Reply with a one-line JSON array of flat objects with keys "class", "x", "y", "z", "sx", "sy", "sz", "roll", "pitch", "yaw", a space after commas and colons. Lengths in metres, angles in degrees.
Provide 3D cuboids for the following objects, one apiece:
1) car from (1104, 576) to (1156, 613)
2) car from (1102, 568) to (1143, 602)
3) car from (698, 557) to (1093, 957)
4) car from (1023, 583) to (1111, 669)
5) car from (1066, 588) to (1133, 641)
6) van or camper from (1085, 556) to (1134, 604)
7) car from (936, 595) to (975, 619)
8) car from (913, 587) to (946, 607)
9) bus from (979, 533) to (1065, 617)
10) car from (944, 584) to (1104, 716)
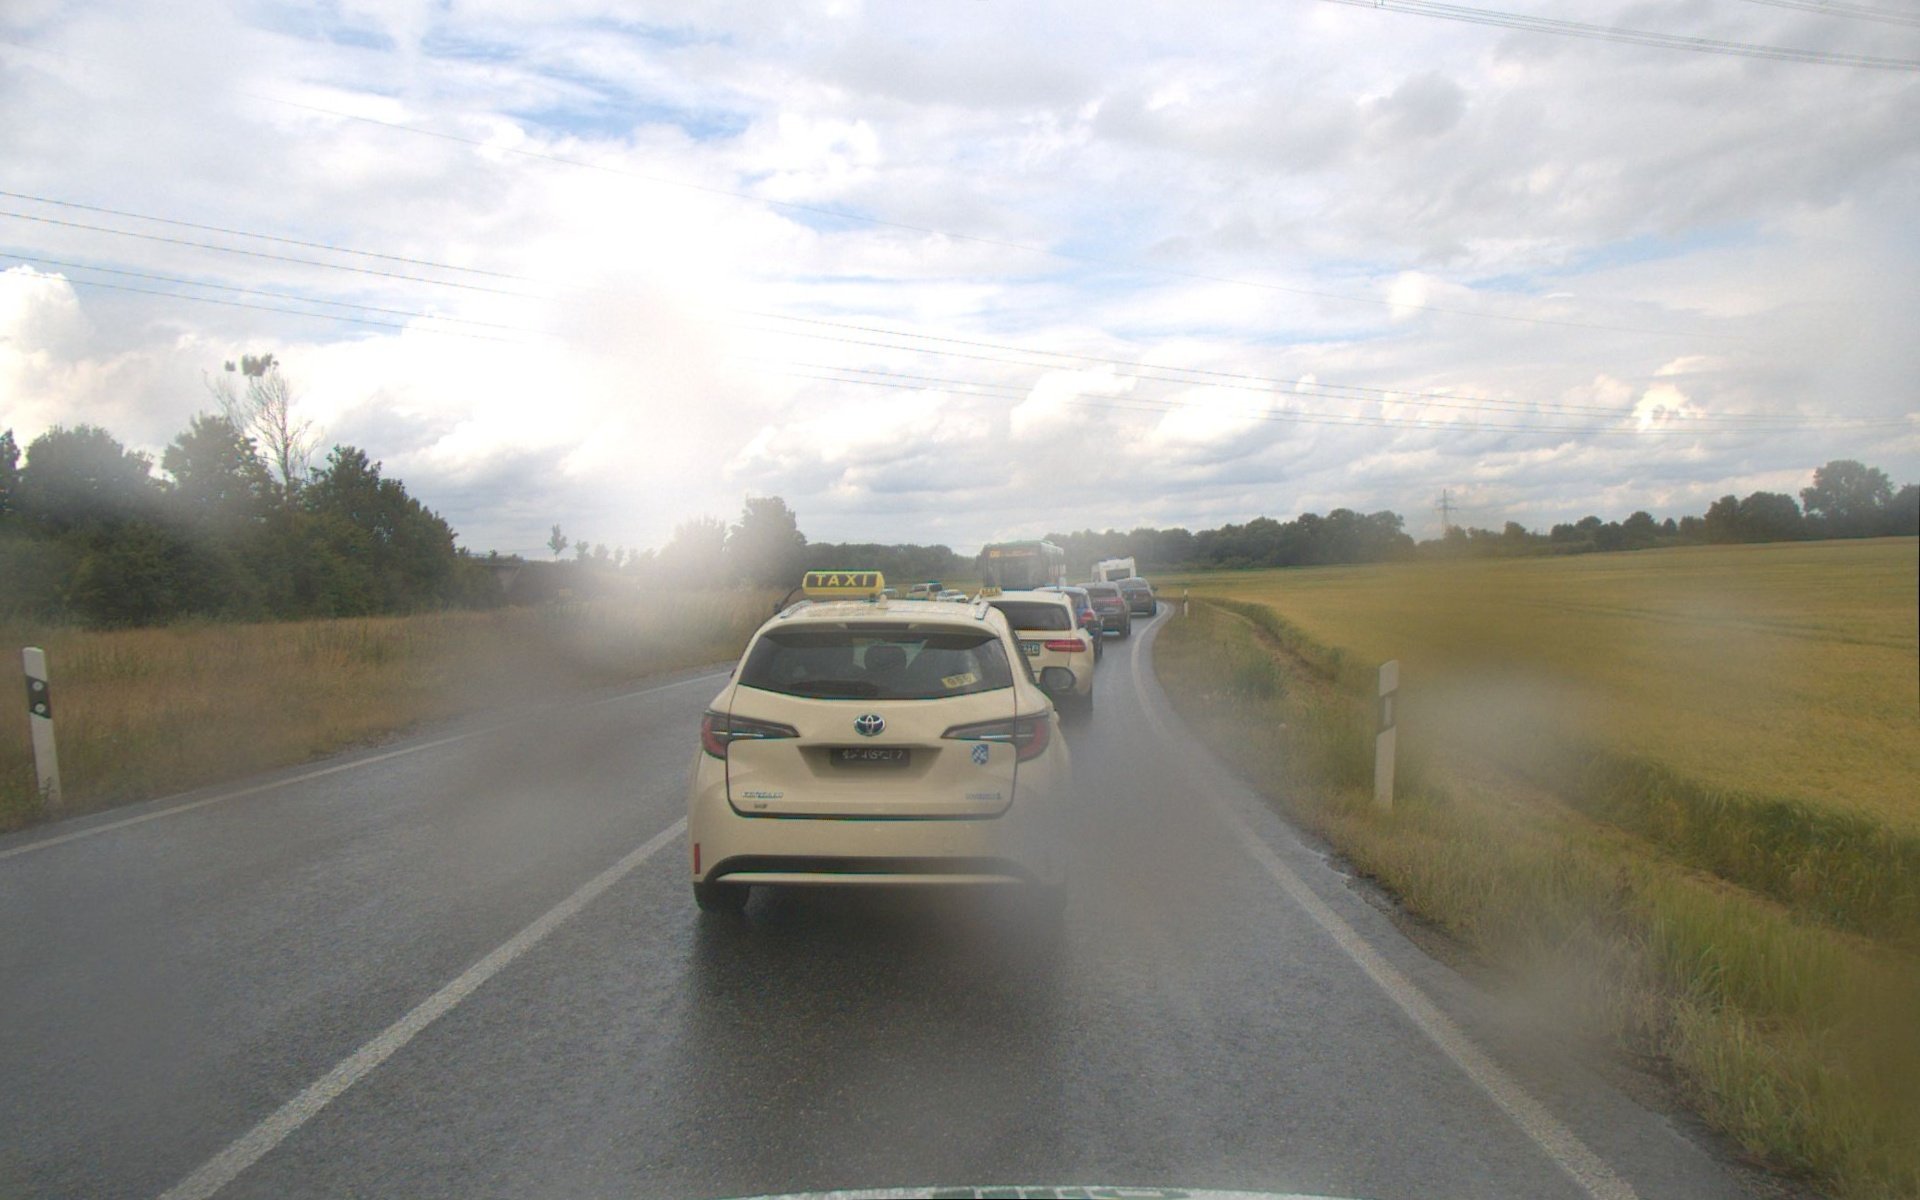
[{"class": "car", "x": 6.922, "y": -0.194, "z": 67.065, "sx": 1.918, "sy": 1.438, "sz": 4.395, "roll": 0, "pitch": -1, "yaw": 8}, {"class": "car", "x": 8.936, "y": -0.807, "z": 91.296, "sx": 1.919, "sy": 1.759, "sz": 3.738, "roll": 1, "pitch": -1, "yaw": 1}, {"class": "car", "x": -0.192, "y": 0.651, "z": 8.527, "sx": 1.579, "sy": 1.589, "sz": 3.739, "roll": 0, "pitch": -1, "yaw": 2}, {"class": "car", "x": 2.287, "y": 0.530, "z": 34.720, "sx": 1.578, "sy": 1.688, "sz": 3.741, "roll": 0, "pitch": -1, "yaw": 8}, {"class": "car", "x": 3.947, "y": 0.413, "z": 46.372, "sx": 1.578, "sy": 1.438, "sz": 3.741, "roll": 0, "pitch": -1, "yaw": 9}, {"class": "van or camper", "x": 9.542, "y": -1.283, "z": 106.262, "sx": 2.485, "sy": 2.946, "sz": 6.742, "roll": 0, "pitch": 0, "yaw": 0}, {"class": "car", "x": -0.421, "y": 0.599, "z": 141.229, "sx": 1.965, "sy": 2.049, "sz": 4.352, "roll": 1, "pitch": -1, "yaw": -20}, {"class": "car", "x": -2.885, "y": -0.284, "z": 157.110, "sx": 1.855, "sy": 1.804, "sz": 4.135, "roll": 1, "pitch": -1, "yaw": -20}, {"class": "bus", "x": 2.859, "y": -1.043, "z": 72.203, "sx": 2.699, "sy": 3.355, "sz": 12.512, "roll": 0, "pitch": 0, "yaw": 7}, {"class": "car", "x": 0.935, "y": 0.556, "z": 21.476, "sx": 1.802, "sy": 1.518, "sz": 4.611, "roll": 0, "pitch": 0, "yaw": 6}]
